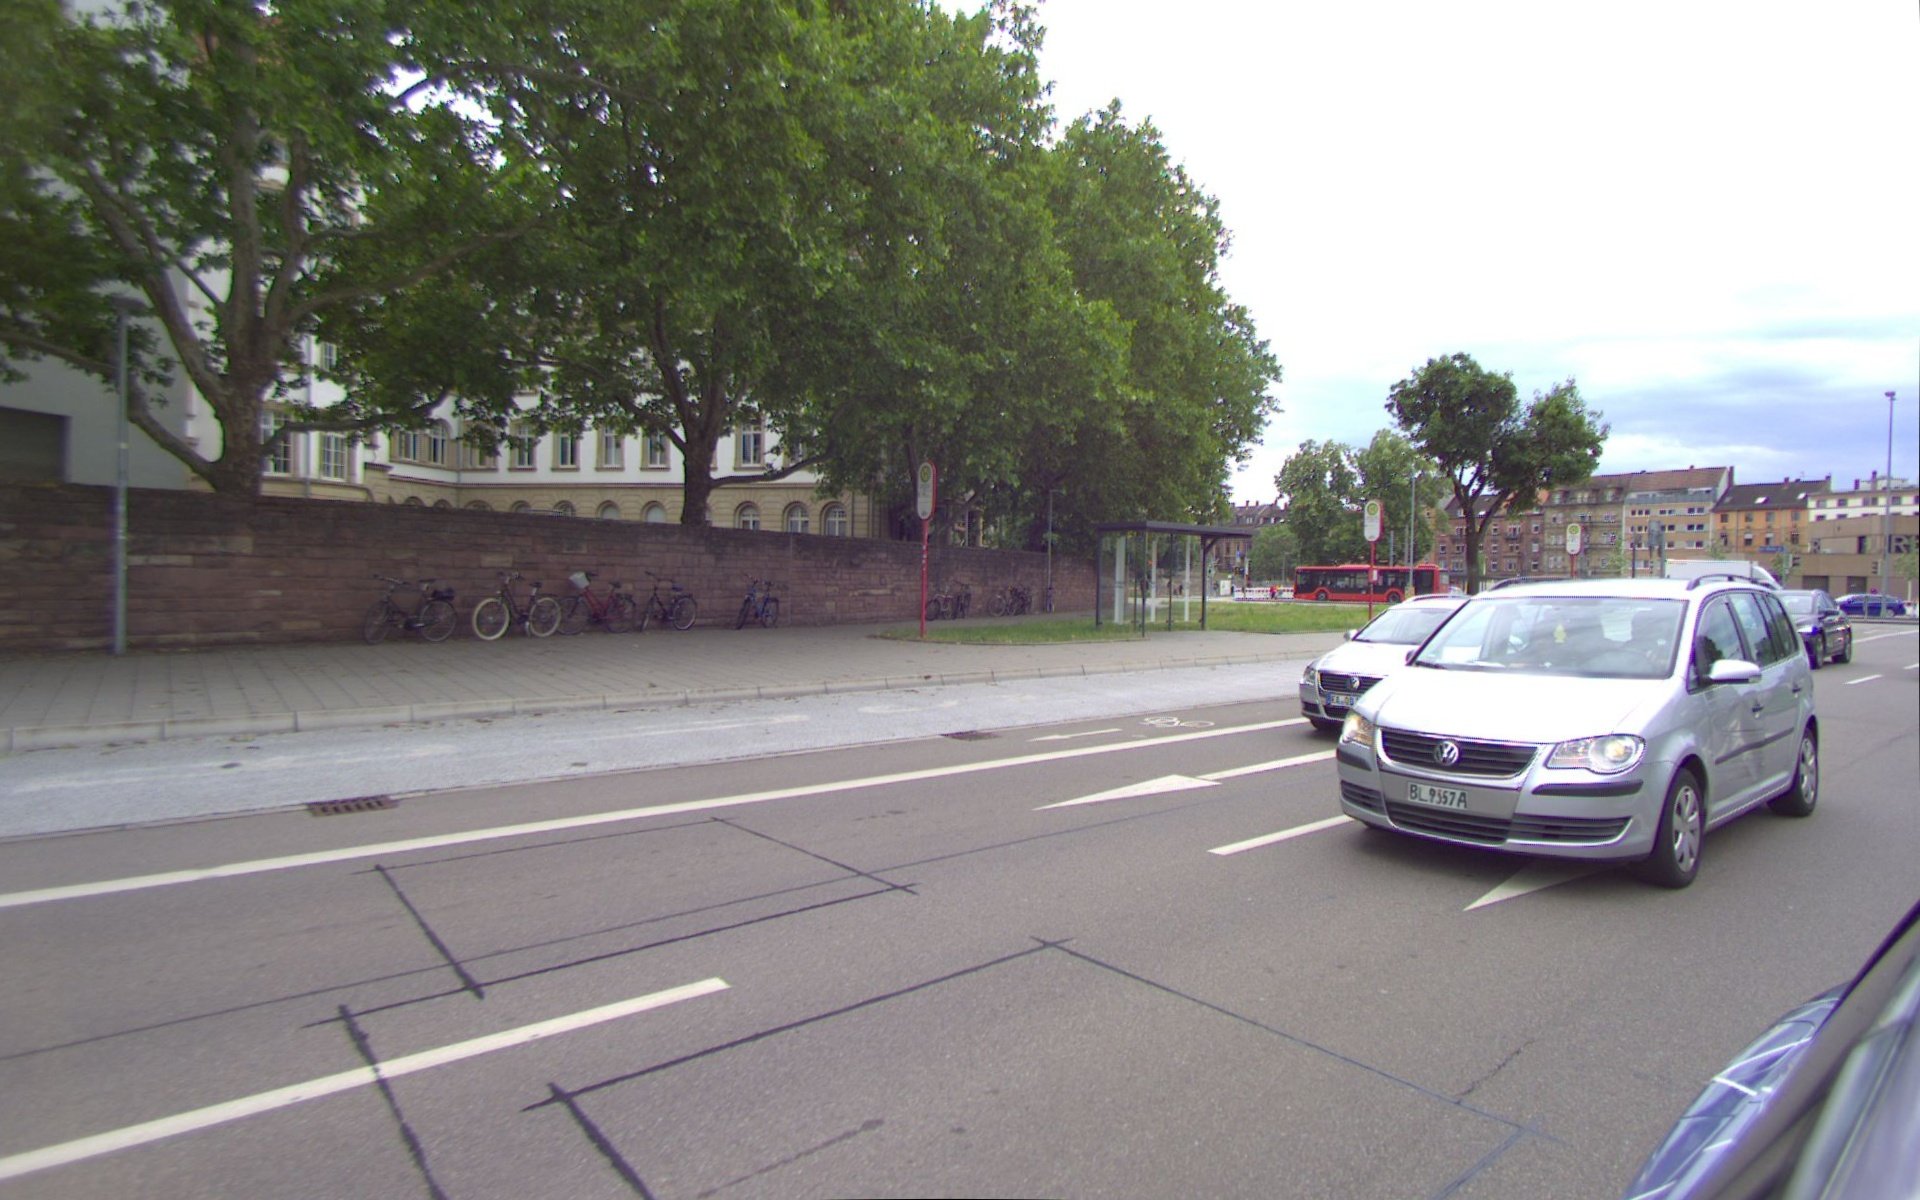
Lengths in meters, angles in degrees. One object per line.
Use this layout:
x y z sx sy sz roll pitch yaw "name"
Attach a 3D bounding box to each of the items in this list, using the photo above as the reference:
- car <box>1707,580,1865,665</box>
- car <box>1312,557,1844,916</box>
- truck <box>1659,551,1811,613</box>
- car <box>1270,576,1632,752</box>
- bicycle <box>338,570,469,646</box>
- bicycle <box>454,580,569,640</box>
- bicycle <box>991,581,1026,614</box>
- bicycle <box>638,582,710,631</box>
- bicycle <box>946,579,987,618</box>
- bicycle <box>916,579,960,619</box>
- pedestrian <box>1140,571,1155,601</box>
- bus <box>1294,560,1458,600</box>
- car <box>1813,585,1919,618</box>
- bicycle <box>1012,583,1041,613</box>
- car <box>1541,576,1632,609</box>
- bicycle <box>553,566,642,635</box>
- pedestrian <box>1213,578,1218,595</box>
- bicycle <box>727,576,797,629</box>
17.852 0.422 21.808 4.412 1.645 1.910 0 0 -41 "car"
4.154 0.599 6.536 4.032 1.623 1.733 0 1 -40 "car"
45.670 -1.103 59.786 2.519 3.453 6.837 -2 2 -44 "truck"
5.603 0.550 11.320 4.444 1.570 1.830 -2 1 -37 "car"
-8.799 0.096 16.084 0.712 1.113 1.780 3 2 21 "bicycle"
-7.793 0.147 17.661 0.651 0.963 1.750 3 2 33 "bicycle"
1.666 -0.096 34.494 0.589 1.072 1.699 3 2 24 "bicycle"
-5.861 0.117 20.793 0.414 0.954 1.508 3 2 32 "bicycle"
0.219 -0.062 31.421 0.589 1.143 1.699 3 2 24 "bicycle"
-0.628 -0.048 29.920 0.589 1.150 1.699 3 2 24 "bicycle"
11.466 -0.866 61.942 0.743 1.757 0.823 2 2 1 "pedestrian"
33.102 -1.618 81.170 2.888 2.944 12.072 0 1 -43 "bus"
54.176 0.066 60.569 4.369 1.767 1.756 3 2 16 "car"
2.387 -0.093 36.048 0.544 1.004 1.626 3 2 21 "bicycle"
40.479 -0.527 65.445 1.889 1.942 4.705 -3 4 -42 "car"
-6.861 -0.006 19.209 0.497 1.236 1.608 3 2 32 "bicycle"
26.937 -1.397 106.725 0.365 1.726 0.373 1 2 -40 "pedestrian"
-4.405 0.035 22.624 0.594 1.118 1.637 3 2 30 "bicycle"
